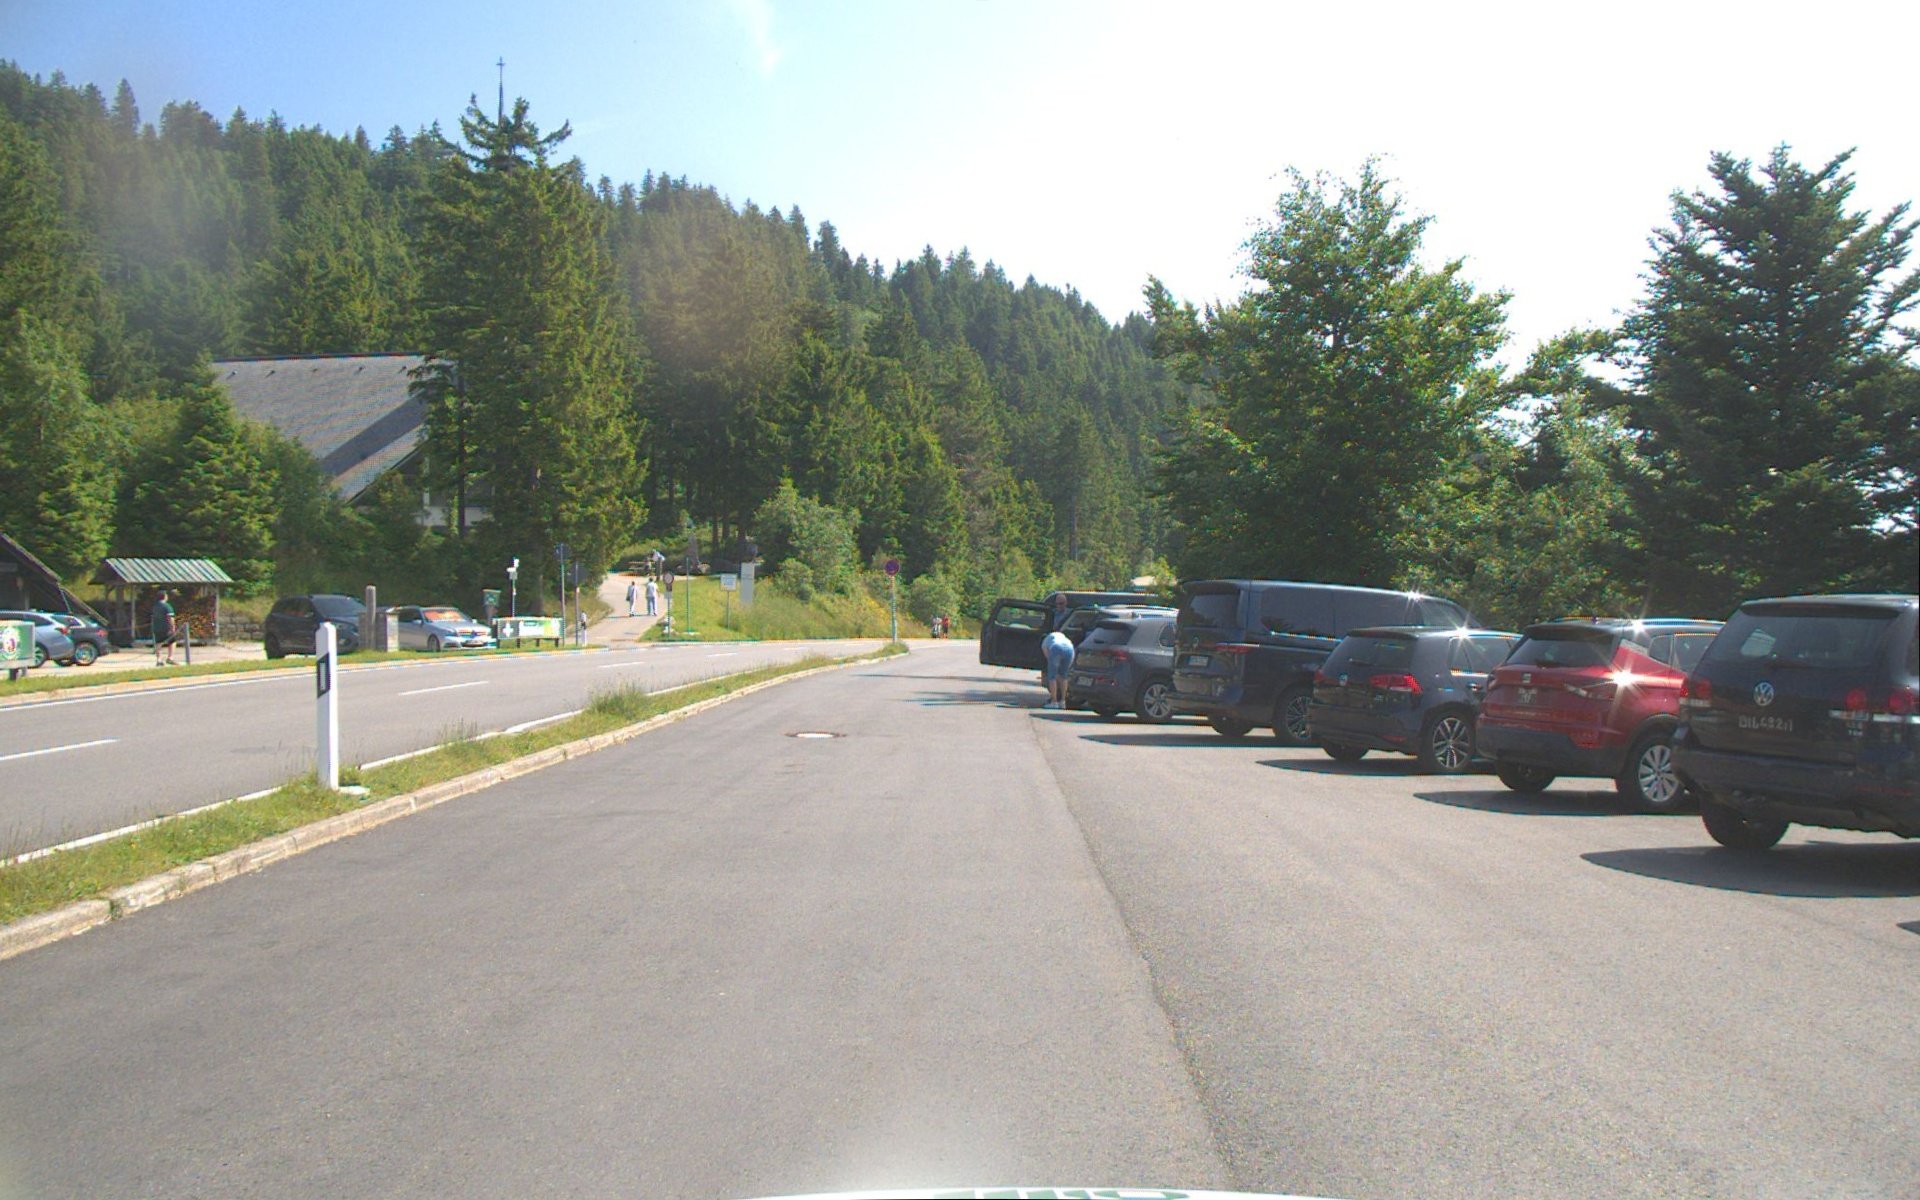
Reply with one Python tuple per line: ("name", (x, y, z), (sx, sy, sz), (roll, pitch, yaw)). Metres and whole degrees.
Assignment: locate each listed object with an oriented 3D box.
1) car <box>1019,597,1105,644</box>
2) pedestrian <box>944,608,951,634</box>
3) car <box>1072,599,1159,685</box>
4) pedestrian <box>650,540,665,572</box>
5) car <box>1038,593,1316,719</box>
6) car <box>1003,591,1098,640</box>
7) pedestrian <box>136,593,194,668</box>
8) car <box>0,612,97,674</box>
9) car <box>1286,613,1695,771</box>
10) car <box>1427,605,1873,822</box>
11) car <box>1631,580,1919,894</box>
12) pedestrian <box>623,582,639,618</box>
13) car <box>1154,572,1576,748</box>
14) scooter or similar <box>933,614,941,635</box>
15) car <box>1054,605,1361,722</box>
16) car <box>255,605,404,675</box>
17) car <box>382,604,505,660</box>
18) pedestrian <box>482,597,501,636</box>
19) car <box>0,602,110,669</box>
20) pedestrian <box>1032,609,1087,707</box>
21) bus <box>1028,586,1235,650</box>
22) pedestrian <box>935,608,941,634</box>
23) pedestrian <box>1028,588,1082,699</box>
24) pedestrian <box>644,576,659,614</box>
("car", (4.791, 0.937, 77.567), (3.904, 1.845, 1.941), (4, 1, 4))
("pedestrian", (-0.874, 1.466, 114.902), (0.386, 1.778, 0.406), (0, 0, 8))
("car", (4.008, 1.060, 43.350), (1.866, 2.006, 4.820), (4, 0, 2))
("pedestrian", (-19.072, -2.767, 104.216), (0.799, 2.048, 0.852), (-1, 1, -7))
("car", (3.494, 0.900, 26.647), (3.938, 1.691, 1.983), (5, -2, -26))
("car", (3.846, 0.657, 70.717), (3.905, 1.749, 1.868), (4, 1, 2))
("pedestrian", (-19.323, 0.730, 40.219), (0.878, 1.764, 0.961), (-1, 1, 1))
("car", (-23.934, 1.111, 41.249), (3.968, 1.444, 1.658), (-2, 0, -43))
("car", (5.532, 0.956, 17.213), (3.937, 1.439, 1.730), (3, 0, -26))
("car", (6.150, 0.945, 14.601), (3.955, 1.617, 1.840), (3, 0, -36))
("car", (6.713, 0.836, 11.081), (4.216, 1.724, 1.970), (3, 0, -31))
("pedestrian", (-15.660, 0.004, 78.704), (0.640, 1.696, 0.642), (-1, -2, -5))
("car", (4.960, 0.731, 20.361), (4.683, 1.912, 1.957), (3, 0, -18))
("scooter or similar", (-1.603, 1.670, 114.210), (0.473, 1.404, 0.817), (-1, 1, 1))
("car", (3.527, 0.904, 23.654), (3.928, 1.468, 1.829), (3, 0, -20))
("car", (-15.711, 0.980, 41.137), (4.135, 1.662, 1.779), (-1, -1, 42))
("car", (-14.742, 0.900, 47.099), (1.731, 1.466, 3.904), (-2, 1, -45))
("pedestrian", (-18.804, 0.666, 66.399), (0.565, 1.559, 0.553), (-1, 1, 1))
("car", (-24.937, 0.943, 43.784), (3.966, 1.646, 1.970), (-2, 1, -42))
("pedestrian", (1.511, 0.872, 25.024), (0.757, 1.427, 0.670), (-1, 1, 8))
("bus", (10.710, 1.062, 103.716), (12.591, 3.640, 2.983), (1, 2, 18))
("pedestrian", (-1.537, 1.471, 114.843), (0.406, 1.777, 0.457), (-1, 1, 1))
("pedestrian", (1.564, 0.716, 27.305), (0.572, 1.791, 0.628), (4, -1, -27))
("pedestrian", (-14.802, -0.251, 79.358), (0.640, 1.830, 0.642), (0, 0, -5))
